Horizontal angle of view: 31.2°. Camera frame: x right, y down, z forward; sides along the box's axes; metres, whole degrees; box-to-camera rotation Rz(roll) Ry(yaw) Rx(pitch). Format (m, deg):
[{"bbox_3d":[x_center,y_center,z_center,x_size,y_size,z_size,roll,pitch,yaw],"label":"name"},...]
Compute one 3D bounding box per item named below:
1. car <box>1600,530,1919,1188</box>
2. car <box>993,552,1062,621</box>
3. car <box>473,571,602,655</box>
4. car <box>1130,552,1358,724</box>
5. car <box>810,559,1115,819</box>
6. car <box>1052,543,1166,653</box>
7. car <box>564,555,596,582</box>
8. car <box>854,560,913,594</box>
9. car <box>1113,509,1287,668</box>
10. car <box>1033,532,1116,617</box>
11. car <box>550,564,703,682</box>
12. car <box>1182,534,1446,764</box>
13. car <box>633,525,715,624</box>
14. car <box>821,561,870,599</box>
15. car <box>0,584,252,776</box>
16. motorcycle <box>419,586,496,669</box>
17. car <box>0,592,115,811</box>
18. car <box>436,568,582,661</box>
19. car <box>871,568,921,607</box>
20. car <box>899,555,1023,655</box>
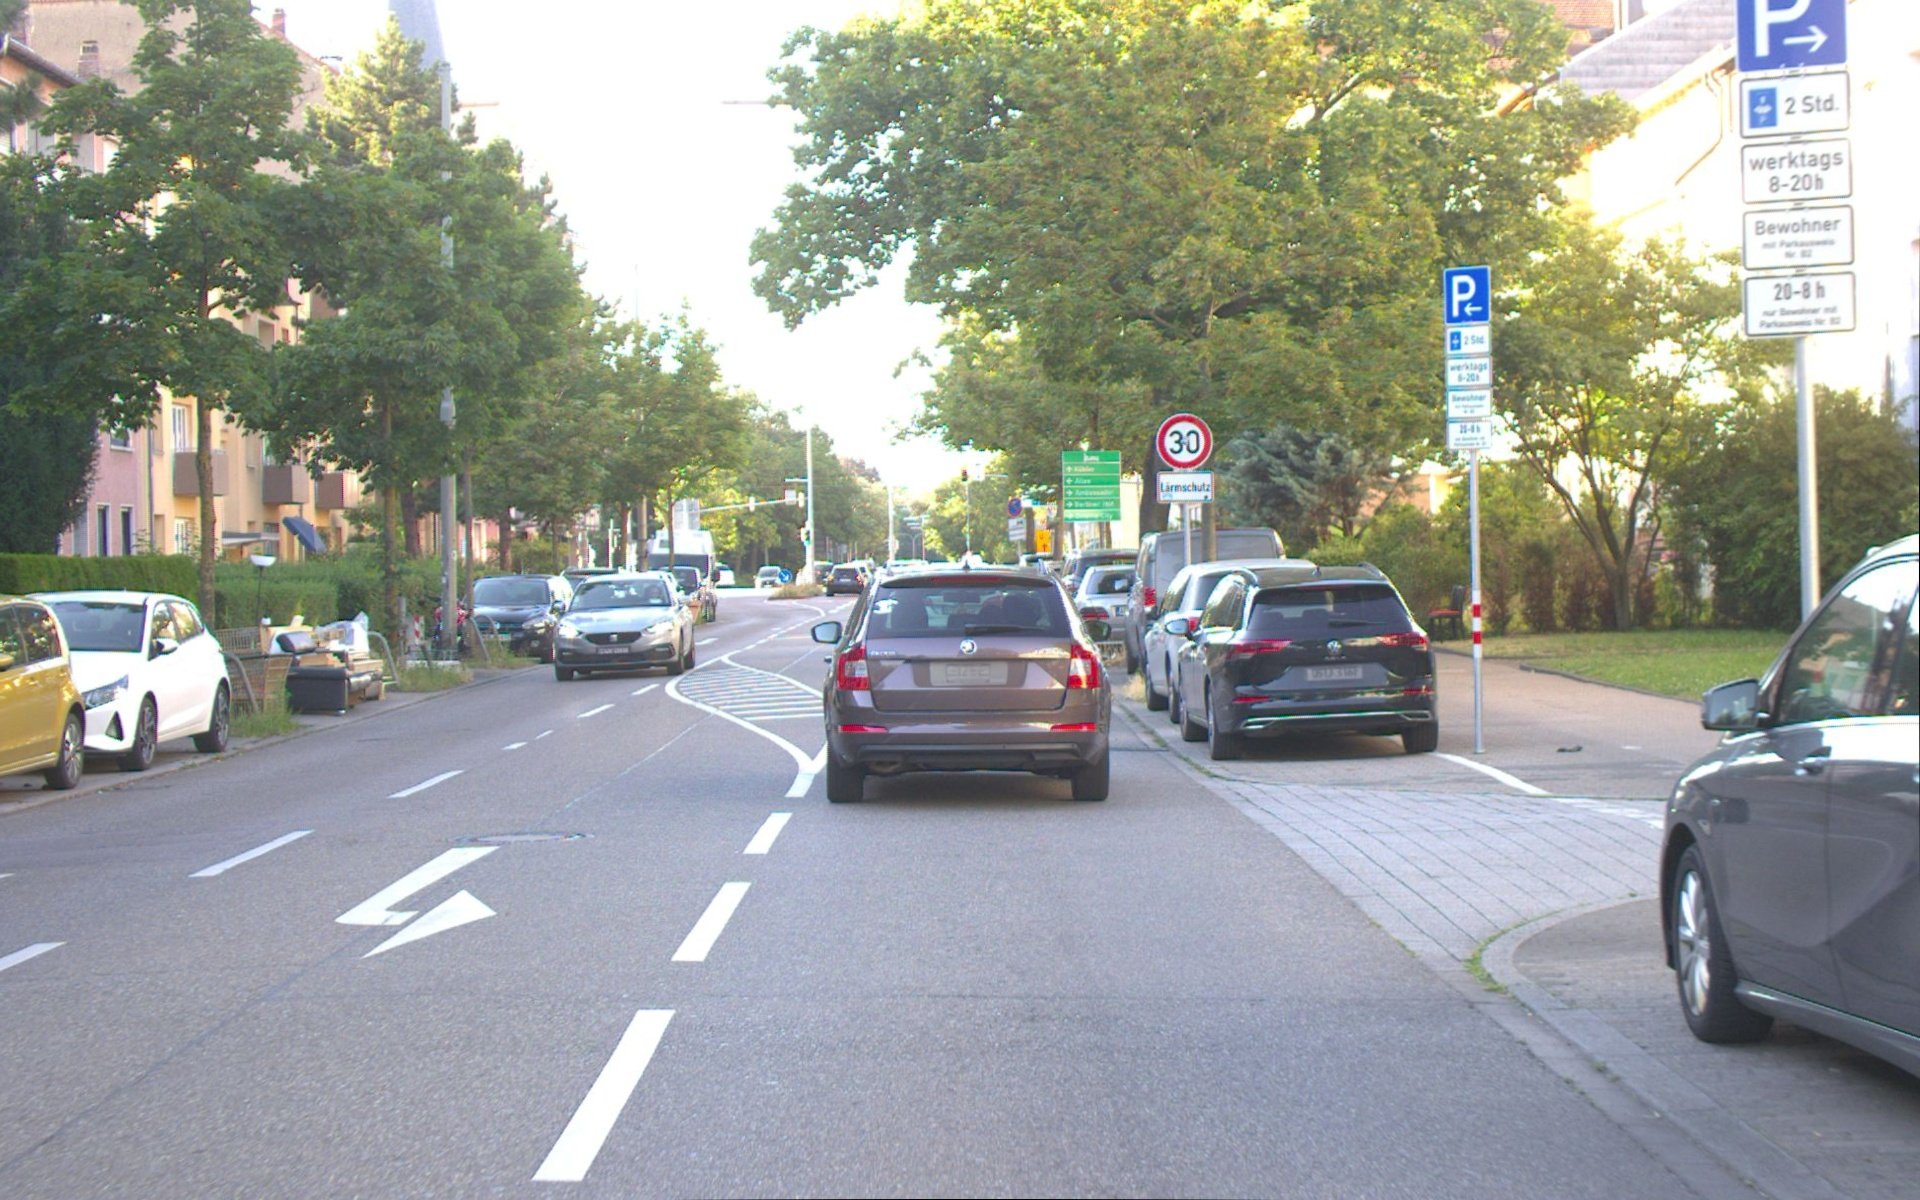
[{"bbox_3d":[3.103,0.583,9.199,1.754,1.551,4.253,-3,1,-3],"label":"car"},{"bbox_3d":[1.792,-0.384,92.209,1.754,1.800,4.000,0,1,0],"label":"car"},{"bbox_3d":[-7.795,0.209,63.723,1.781,1.475,3.971,0,1,2],"label":"car"},{"bbox_3d":[2.683,0.317,33.313,1.754,1.551,4.105,0,1,-2],"label":"car"},{"bbox_3d":[0.061,0.495,21.942,1.754,1.487,4.000,0,1,1],"label":"car"},{"bbox_3d":[2.383,-0.053,55.838,1.754,1.709,4.000,0,1,1],"label":"car"},{"bbox_3d":[-25.035,-2.070,226.389,1.993,1.744,4.001,-1,1,-8],"label":"car"},{"bbox_3d":[-4.055,-1.212,182.197,1.993,1.744,4.001,-1,1,-18],"label":"car"},{"bbox_3d":[2.965,-0.169,43.562,1.916,1.854,5.633,-1,1,1],"label":"car"},{"bbox_3d":[2.499,-0.581,75.428,1.754,1.800,4.000,0,1,1],"label":"car"},{"bbox_3d":[-4.733,0.293,49.305,1.739,1.474,4.310,-4,1,-1],"label":"car"},{"bbox_3d":[2.750,0.335,27.498,1.754,1.681,4.252,0,1,1],"label":"car"},{"bbox_3d":[-8.195,-0.752,98.893,1.991,2.771,5.504,0,1,-1],"label":"car"},{"bbox_3d":[-5.315,-0.941,159.780,1.993,1.744,4.001,-1,1,-5],"label":"car"},{"bbox_3d":[-7.461,0.633,29.630,1.781,1.489,3.971,0,1,2],"label":"car"},{"bbox_3d":[-7.543,0.401,51.683,0.740,1.200,2.141,0,1,3],"label":"motorcycle"},{"bbox_3d":[-7.396,0.702,24.609,1.619,1.475,3.871,0,1,2],"label":"car"},{"bbox_3d":[-7.519,0.222,57.642,1.781,1.475,4.033,0,1,2],"label":"car"},{"bbox_3d":[-2.495,-0.499,132.822,1.781,1.475,3.971,0,1,-3],"label":"car"},{"bbox_3d":[-0.009,0.087,56.209,1.892,1.501,3.790,2,0,-1],"label":"car"}]
